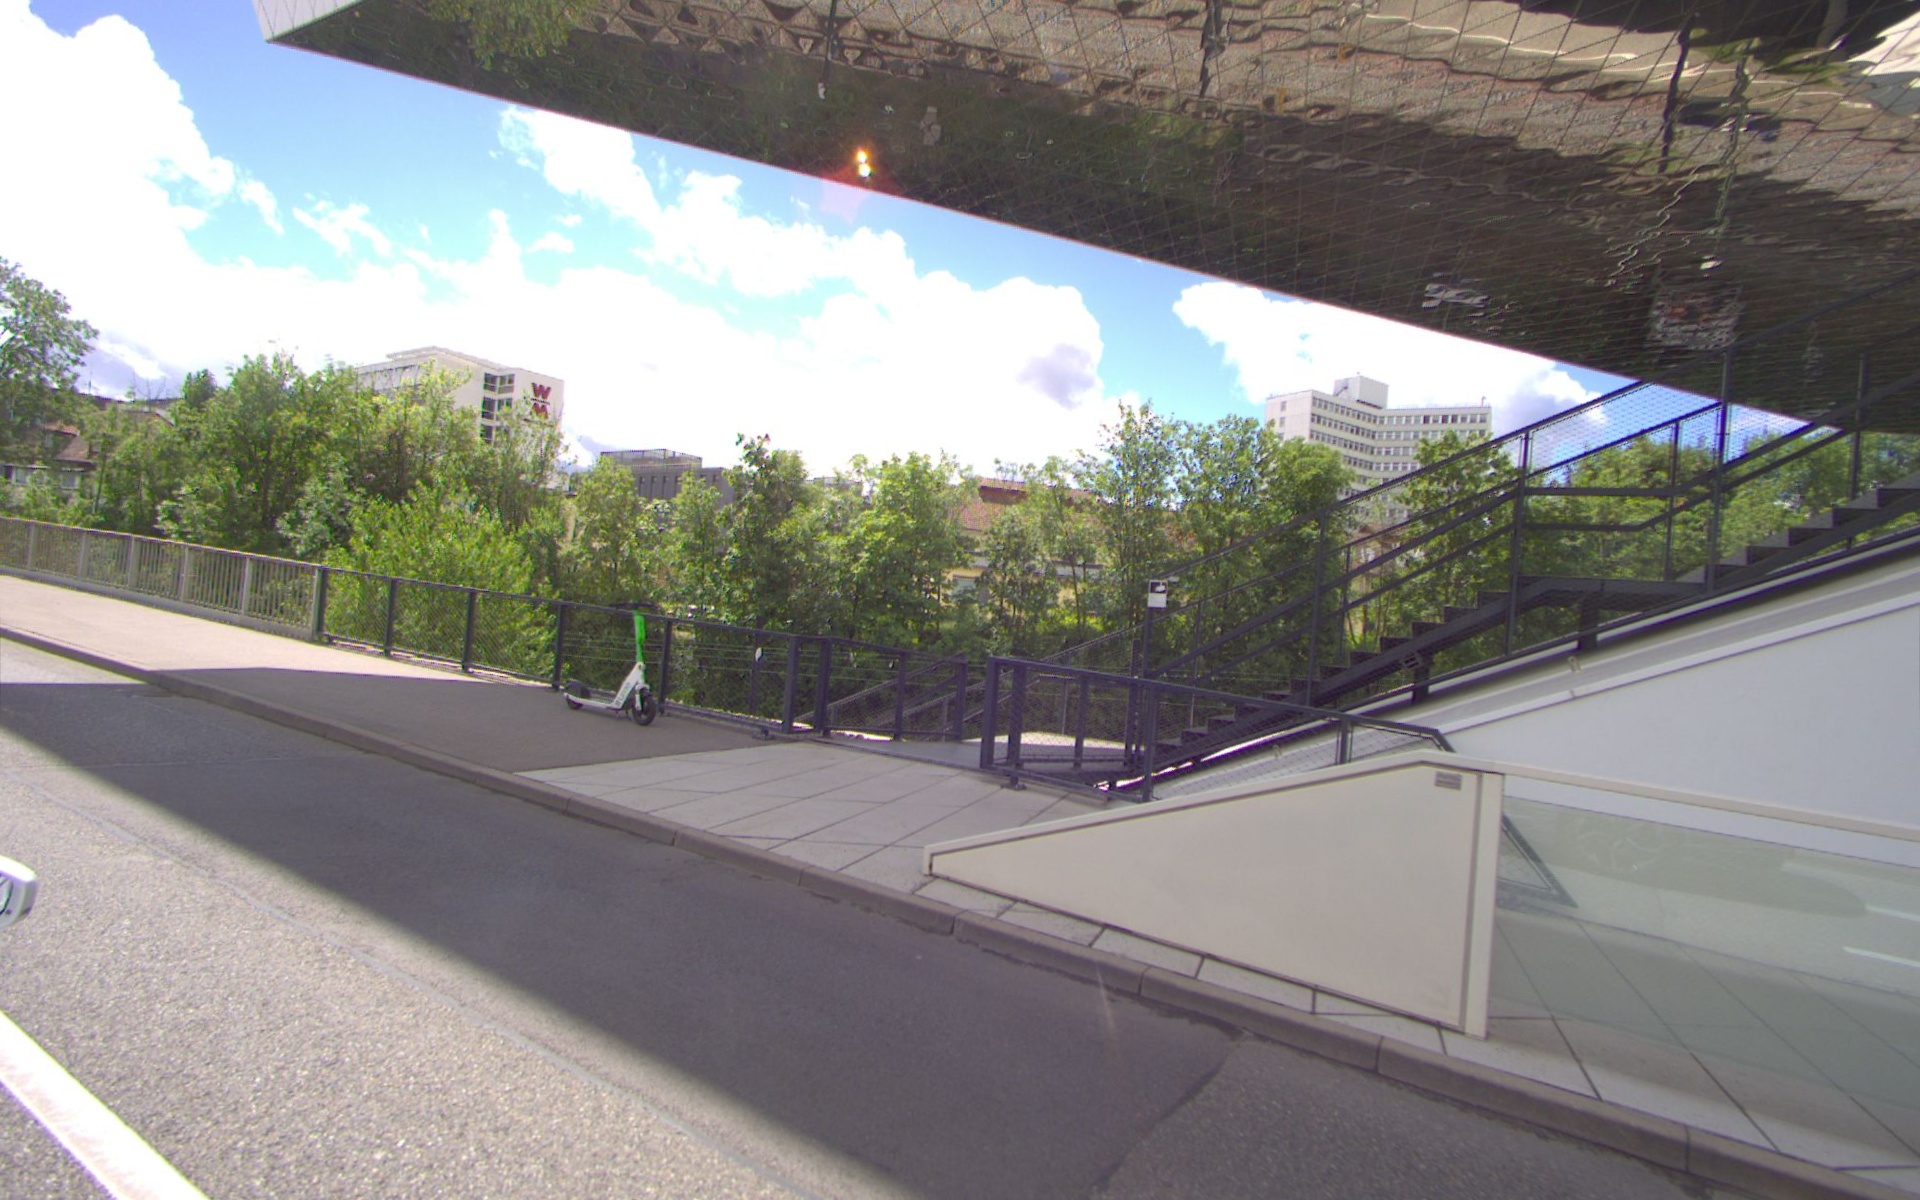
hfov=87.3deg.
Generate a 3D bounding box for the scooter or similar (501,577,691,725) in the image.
[{"bbox_3d":[-3.622,0.478,9.968,1.826,1.229,0.654,6,1,30],"label":"scooter or similar"}]
